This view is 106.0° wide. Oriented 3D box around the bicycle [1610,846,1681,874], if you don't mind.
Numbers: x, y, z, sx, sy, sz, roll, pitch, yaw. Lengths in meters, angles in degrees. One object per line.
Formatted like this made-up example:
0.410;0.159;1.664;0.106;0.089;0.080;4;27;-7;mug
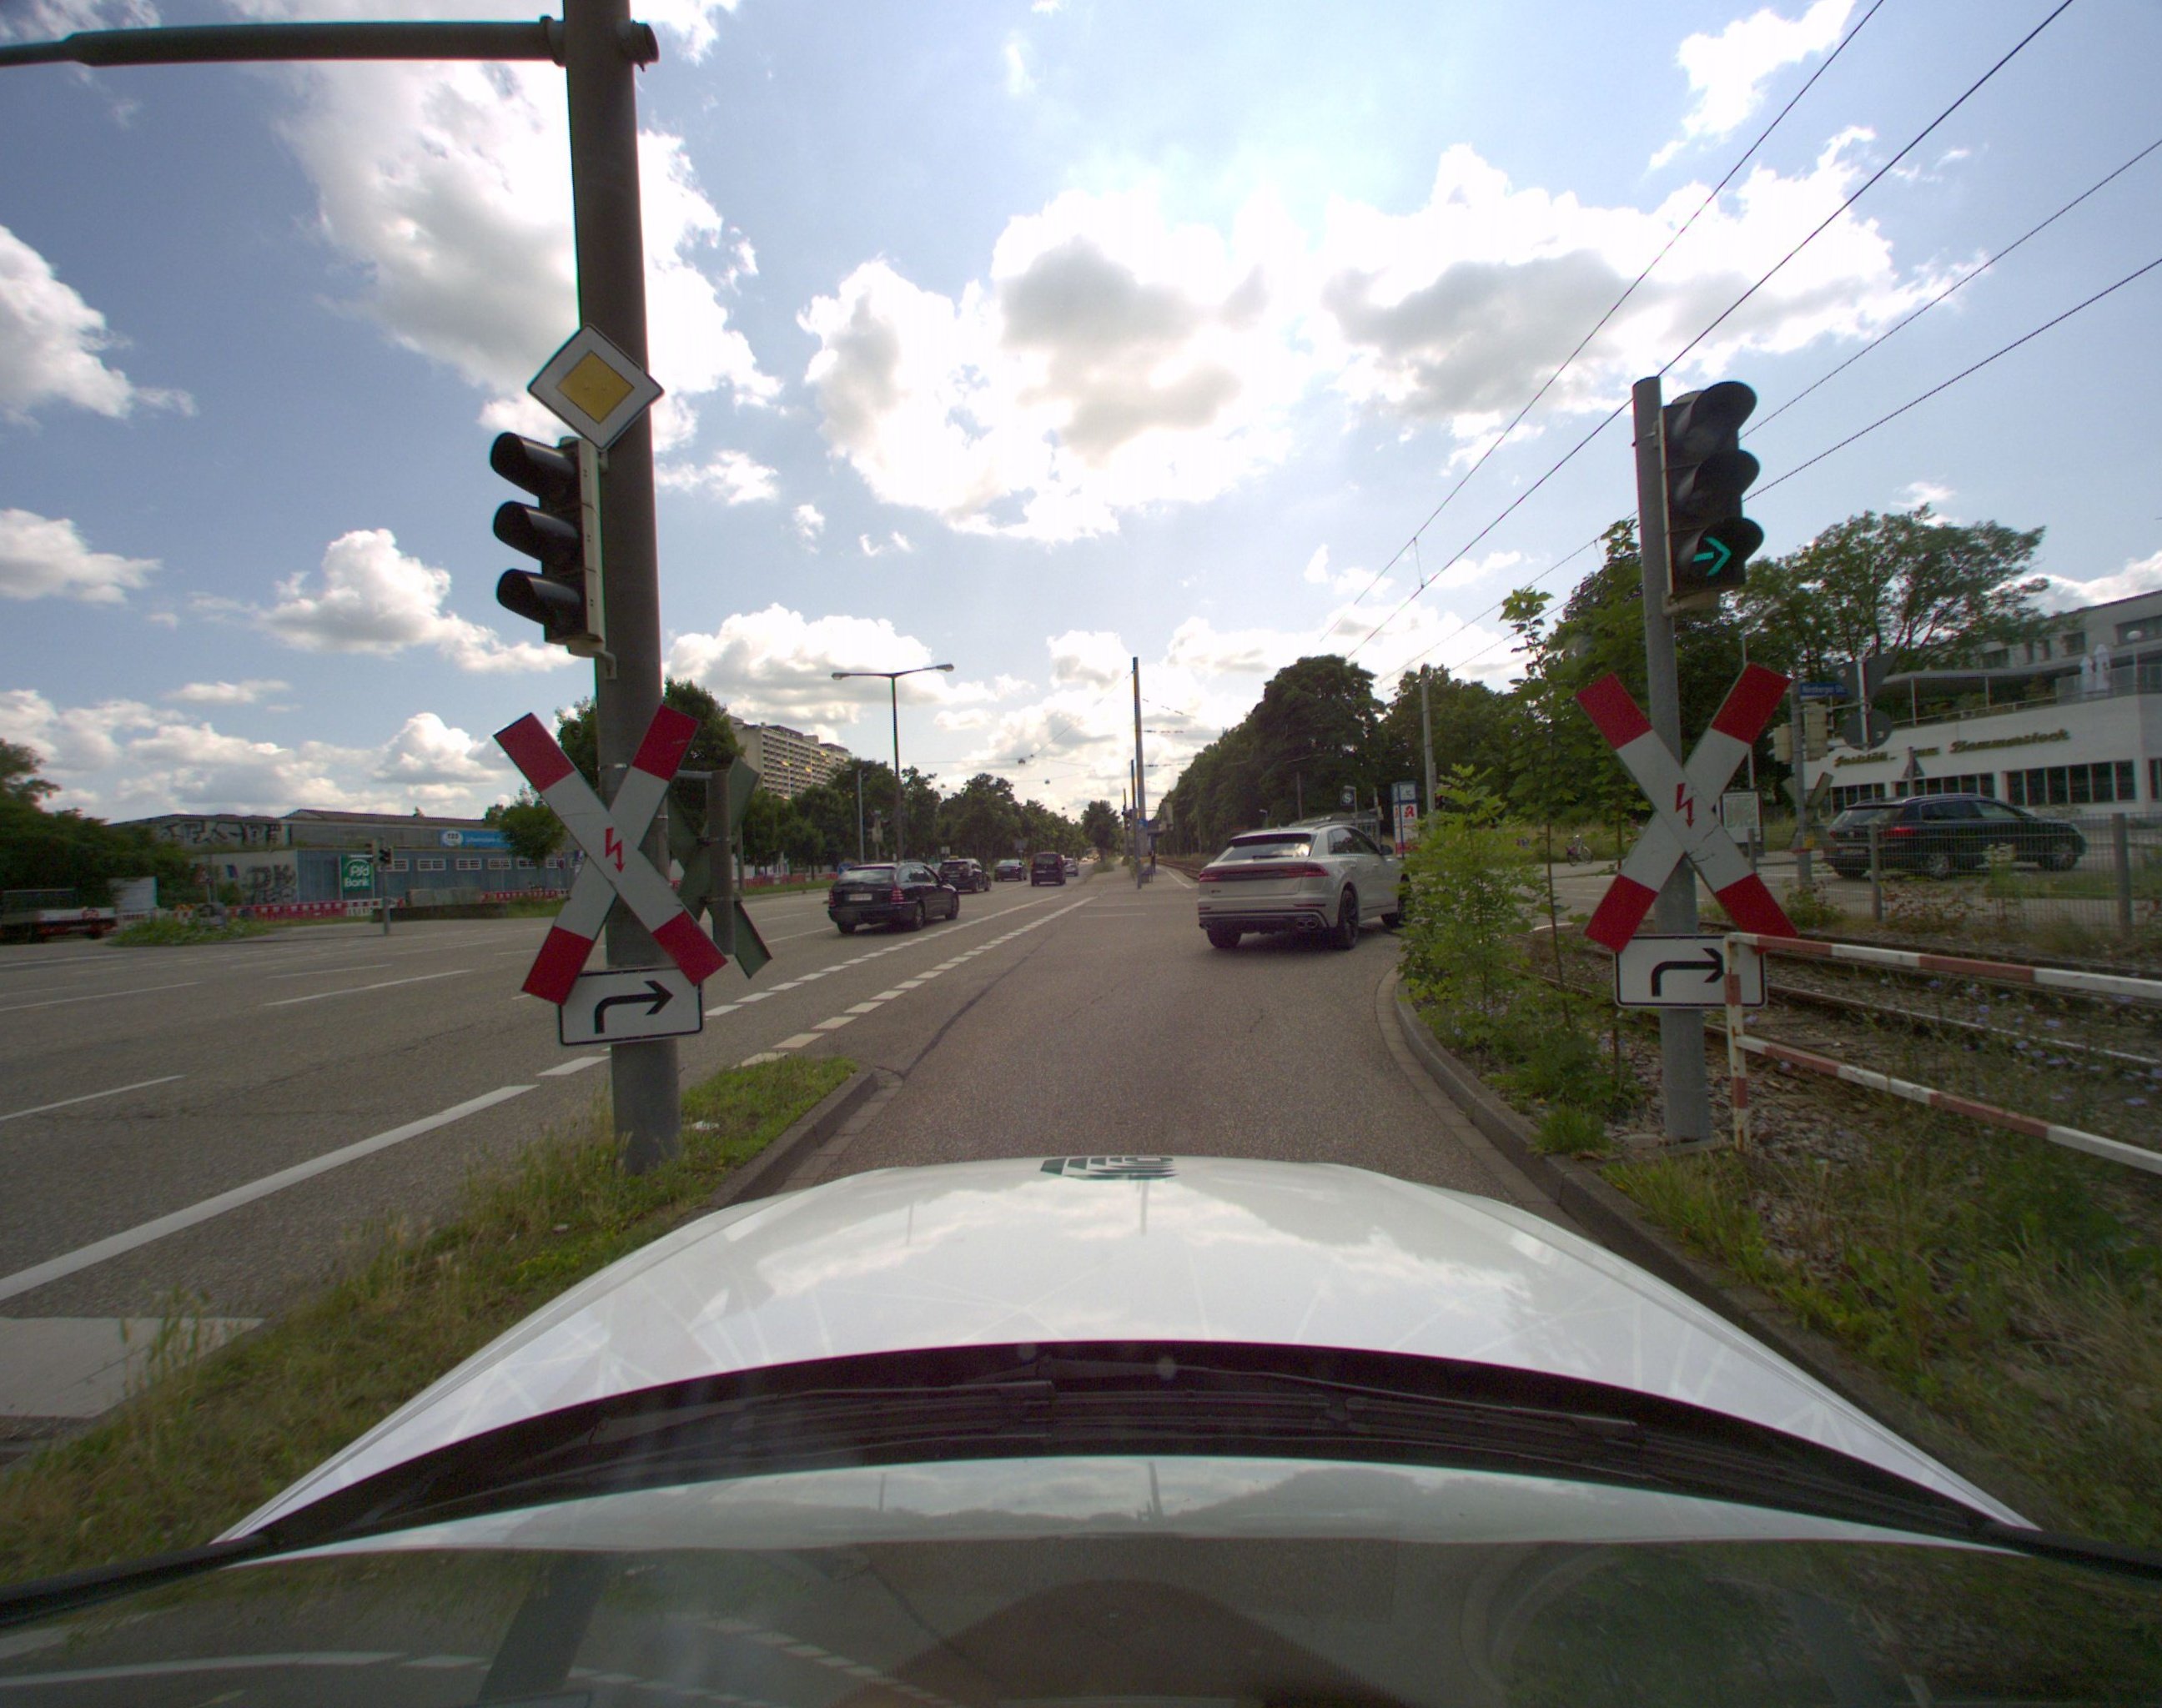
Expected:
17.247;0.187;24.910;1.713;0.765;0.556;-2;-1;5;bicycle

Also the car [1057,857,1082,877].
-0.909;1.015;66.949;1.778;1.525;4.304;-2;0;3;car

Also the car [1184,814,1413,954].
3.469;0.348;12.249;1.962;1.684;4.603;-3;0;32;car

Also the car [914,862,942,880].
-14.748;1.658;78.695;1.779;1.593;3.774;-3;0;2;car

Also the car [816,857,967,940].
-3.939;0.865;17.778;1.746;1.466;4.441;-3;0;6;car

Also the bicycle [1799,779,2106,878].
17.659;-0.490;16.664;4.183;1.675;1.999;-3;0;-2;bicycle

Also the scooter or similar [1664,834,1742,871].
18.756;-0.038;24.590;1.567;0.979;0.964;-4;-1;6;scooter or similar

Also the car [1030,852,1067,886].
-1.786;0.847;45.918;1.753;1.777;3.911;-2;0;2;car

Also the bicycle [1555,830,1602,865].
18.019;-0.252;29.482;1.666;1.132;0.694;-5;1;-31;bicycle

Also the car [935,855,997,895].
-5.218;0.931;37.418;1.777;1.668;4.347;-2;0;6;car

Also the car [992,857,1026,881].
-4.867;1.004;55.557;1.857;1.504;4.001;-2;0;1;car

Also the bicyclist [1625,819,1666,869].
17.233;-0.297;24.867;0.835;1.475;0.456;-3;-1;5;bicyclist

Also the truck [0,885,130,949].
-46.144;2.796;36.044;6.903;2.439;3.056;-3;0;21;truck

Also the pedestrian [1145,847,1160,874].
4.035;0.363;45.814;0.653;1.513;0.717;-3;0;-6;pedestrian
